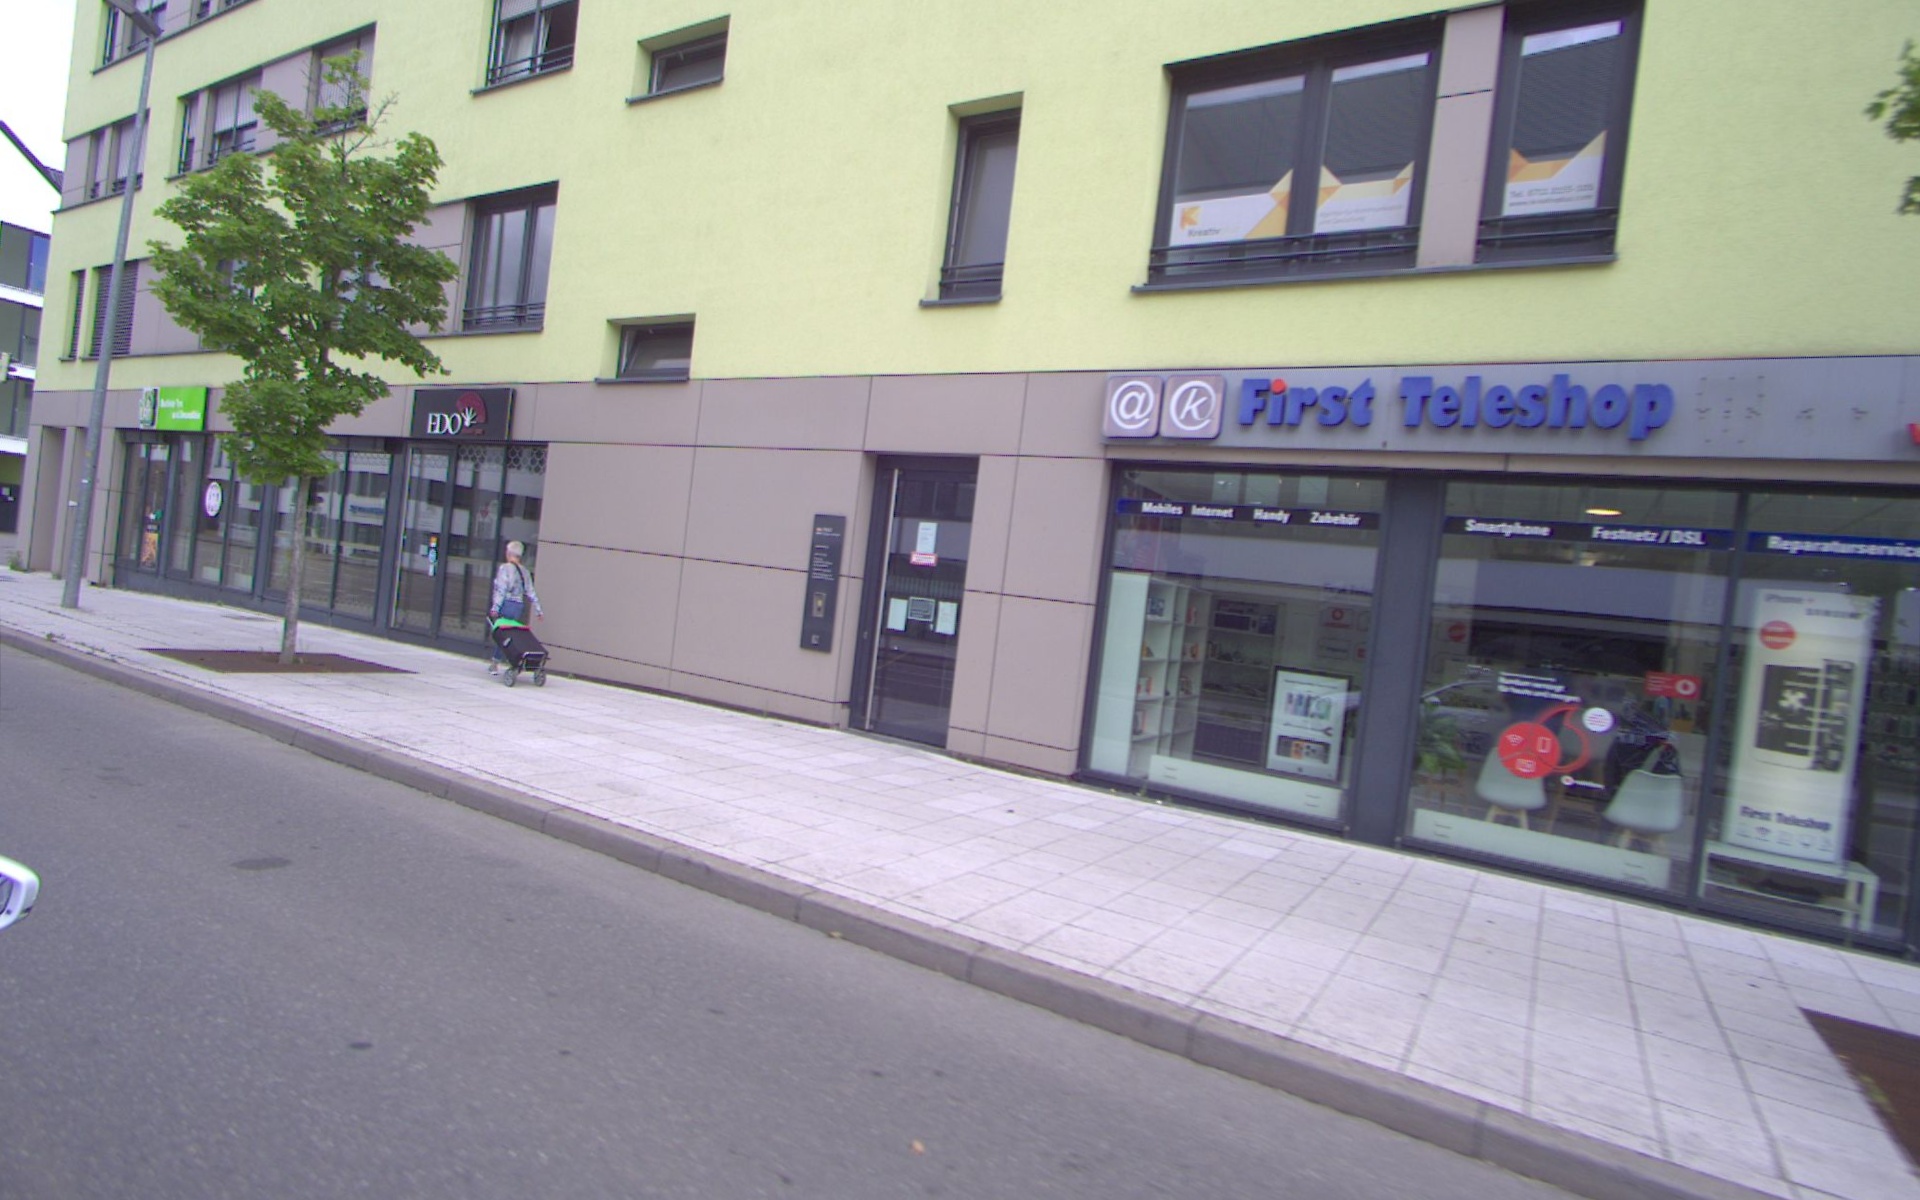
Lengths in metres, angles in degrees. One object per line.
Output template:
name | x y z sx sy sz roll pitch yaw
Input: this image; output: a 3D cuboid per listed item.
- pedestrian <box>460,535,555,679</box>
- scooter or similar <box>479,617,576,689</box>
pedestrian | -5.359 0.086 11.925 0.593 1.614 0.696 7 2 31
scooter or similar | -4.845 0.589 11.282 0.810 0.681 0.592 7 1 31
